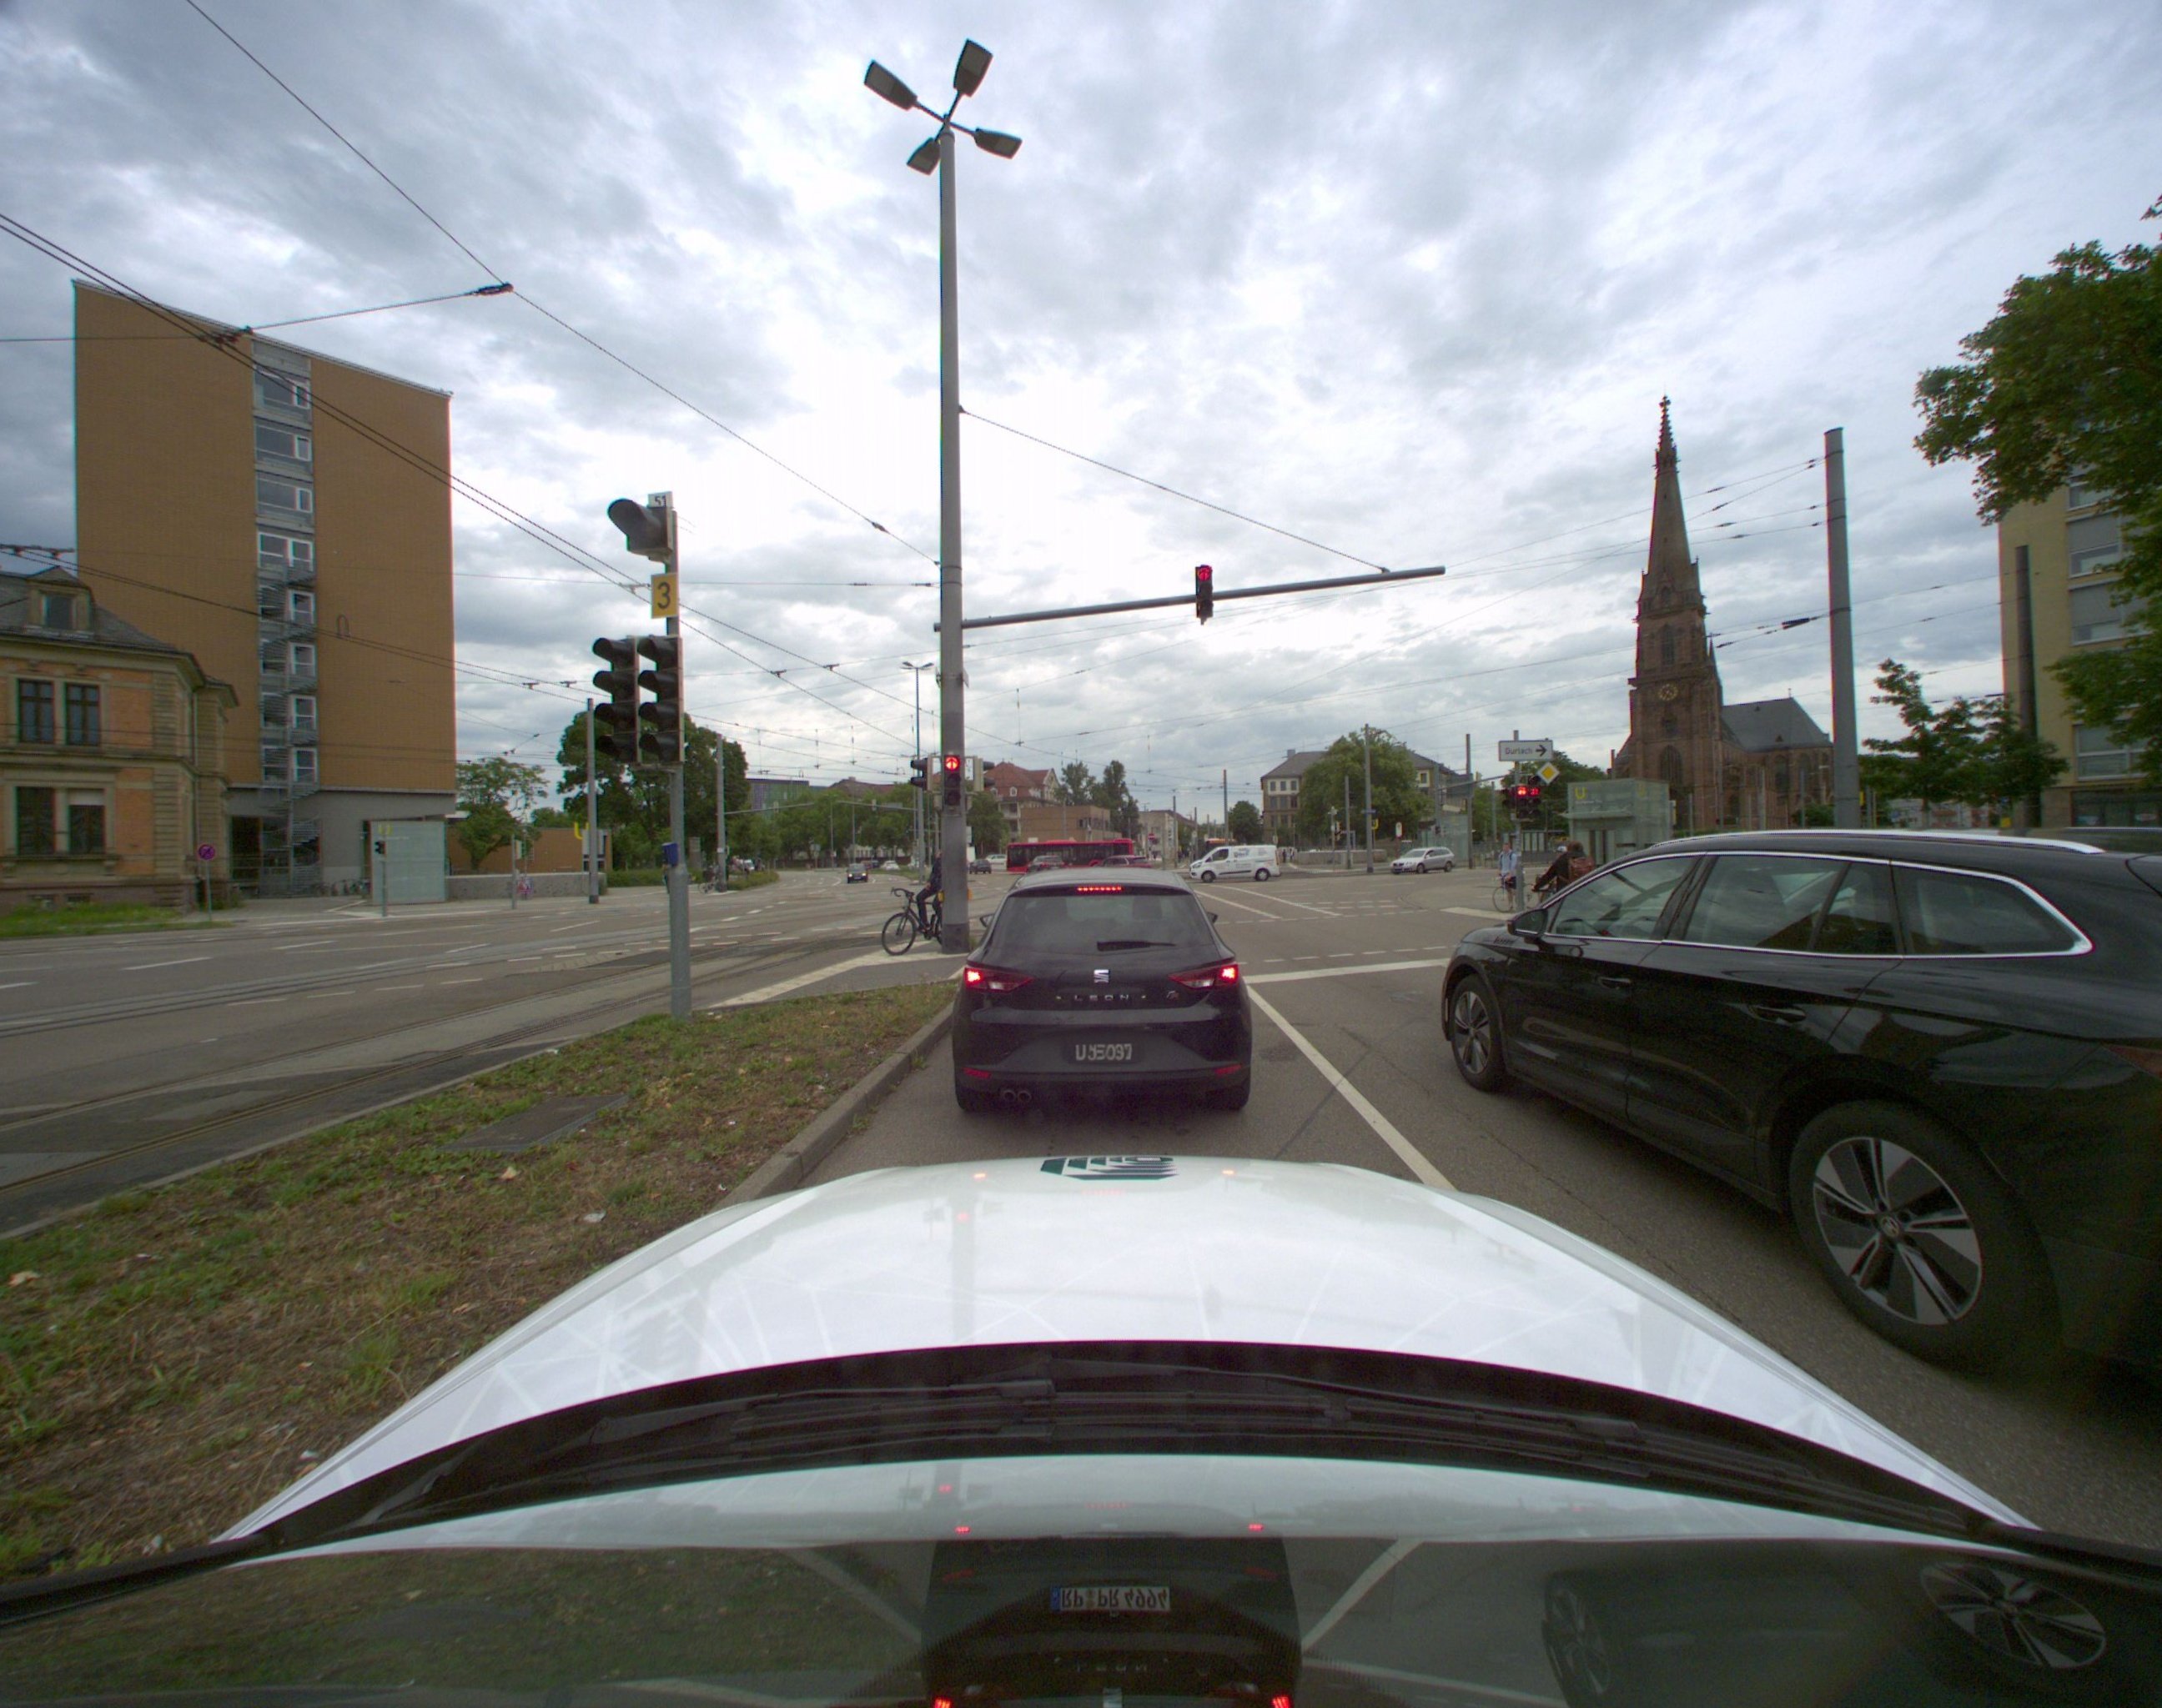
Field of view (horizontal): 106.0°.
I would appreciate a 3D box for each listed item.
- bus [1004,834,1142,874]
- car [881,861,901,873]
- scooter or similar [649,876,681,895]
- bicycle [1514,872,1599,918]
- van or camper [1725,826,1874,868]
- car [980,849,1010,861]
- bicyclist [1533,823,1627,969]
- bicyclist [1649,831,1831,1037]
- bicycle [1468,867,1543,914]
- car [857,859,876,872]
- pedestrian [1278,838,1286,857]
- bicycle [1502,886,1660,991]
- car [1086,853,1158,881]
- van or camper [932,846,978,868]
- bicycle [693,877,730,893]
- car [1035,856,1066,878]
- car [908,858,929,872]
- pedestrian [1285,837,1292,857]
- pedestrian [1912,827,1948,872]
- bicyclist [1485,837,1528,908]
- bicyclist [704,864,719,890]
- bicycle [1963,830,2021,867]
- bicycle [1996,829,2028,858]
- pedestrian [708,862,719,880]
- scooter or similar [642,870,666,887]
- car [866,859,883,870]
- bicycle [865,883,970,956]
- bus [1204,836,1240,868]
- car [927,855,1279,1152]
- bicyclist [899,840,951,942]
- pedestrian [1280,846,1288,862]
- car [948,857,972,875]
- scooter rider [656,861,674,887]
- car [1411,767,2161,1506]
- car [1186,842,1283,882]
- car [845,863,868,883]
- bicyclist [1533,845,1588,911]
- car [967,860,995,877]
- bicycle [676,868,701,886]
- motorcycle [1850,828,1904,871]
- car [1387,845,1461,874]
[{"bbox_3d":[-0.739,0.035,75.426,12.255,3.298,3.078,-2,-1,12],"label":"bus"},{"bbox_3d":[-26.107,1.750,111.698,2.003,1.640,3.968,-1,0,-24],"label":"car"},{"bbox_3d":[-26.706,2.010,52.303,0.567,1.165,1.917,-2,0,23],"label":"scooter or similar"},{"bbox_3d":[11.252,0.950,19.265,1.946,0.998,0.598,-1,0,-19],"label":"bicycle"},{"bbox_3d":[37.379,-0.348,42.575,5.402,1.978,2.183,-2,0,20],"label":"van or camper"},{"bbox_3d":[-15.226,0.190,144.613,5.033,1.864,1.975,-2,-3,-42],"label":"car"},{"bbox_3d":[6.059,0.491,9.919,0.613,1.690,0.806,-2,0,-1],"label":"bicyclist"},{"bbox_3d":[5.505,0.630,6.870,0.786,1.618,0.933,0,0,0],"label":"bicyclist"},{"bbox_3d":[10.830,0.912,20.776,1.996,0.998,0.575,-4,0,-26],"label":"bicycle"},{"bbox_3d":[-32.844,1.754,124.811,2.004,1.772,3.965,-1,0,-27],"label":"car"},{"bbox_3d":[44.800,-1.401,181.840,1.381,4.253,1.347,-2,0,2],"label":"pedestrian"},{"bbox_3d":[6.078,0.974,10.058,0.623,1.055,2.125,-2,0,0],"label":"bicycle"},{"bbox_3d":[2.476,0.820,49.535,4.152,1.600,1.875,-2,0,44],"label":"car"},{"bbox_3d":[-21.452,0.471,139.050,7.193,3.332,2.841,-2,-1,-43],"label":"van or camper"},{"bbox_3d":[-24.805,2.088,54.684,2.118,1.028,0.790,2,0,-18],"label":"bicycle"},{"bbox_3d":[-2.302,0.945,61.071,1.991,1.566,4.195,-2,0,-7],"label":"car"},{"bbox_3d":[-22.182,1.516,111.076,2.003,1.750,3.968,-1,0,-24],"label":"car"},{"bbox_3d":[46.297,-1.549,181.680,1.302,4.253,1.347,-2,0,2],"label":"pedestrian"},{"bbox_3d":[33.649,-0.194,32.275,0.910,1.737,0.805,-2,0,-33],"label":"pedestrian"},{"bbox_3d":[10.867,0.459,20.821,0.736,1.751,0.581,-3,0,-25],"label":"bicyclist"},{"bbox_3d":[-24.803,1.550,54.684,0.815,1.656,0.789,-1,1,-18],"label":"bicyclist"},{"bbox_3d":[36.117,-0.209,32.277,2.792,1.377,0.895,-2,0,-29],"label":"bicycle"},{"bbox_3d":[40.828,-0.463,35.718,2.048,1.169,0.663,-2,0,-34],"label":"bicycle"},{"bbox_3d":[-35.519,1.628,78.665,0.747,1.733,0.683,-2,0,-13],"label":"pedestrian"},{"bbox_3d":[-36.078,2.050,68.830,1.781,1.302,0.624,-2,0,-30],"label":"scooter or similar"},{"bbox_3d":[-33.514,1.738,132.088,2.004,1.750,3.965,-1,0,-26],"label":"car"},{"bbox_3d":[-2.698,1.059,13.541,1.622,1.070,0.522,-2,-1,-38],"label":"bicycle"},{"bbox_3d":[16.420,-0.239,94.085,2.994,3.268,13.093,-2,0,14],"label":"bus"},{"bbox_3d":[0.171,0.754,6.076,1.739,1.464,4.002,-1,0,2],"label":"car"},{"bbox_3d":[-2.611,0.604,13.624,0.658,1.639,0.512,-2,-1,-38],"label":"bicyclist"},{"bbox_3d":[25.218,-0.011,101.289,0.817,1.853,1.026,-2,0,18],"label":"pedestrian"},{"bbox_3d":[-13.961,1.367,93.815,2.000,2.013,3.973,-1,0,-20],"label":"car"},{"bbox_3d":[-26.733,1.308,52.286,0.562,1.627,0.826,-2,0,23],"label":"scooter rider"},{"bbox_3d":[3.382,0.607,3.780,1.897,1.658,4.515,-2,0,1],"label":"car"},{"bbox_3d":[8.417,0.429,44.928,4.994,2.019,2.002,-2,0,3],"label":"car"},{"bbox_3d":[-18.294,1.503,66.238,1.622,1.515,3.644,-3,0,-17],"label":"car"},{"bbox_3d":[11.369,0.552,19.314,0.886,1.522,0.668,-1,0,-19],"label":"bicyclist"},{"bbox_3d":[-10.162,1.453,82.402,2.000,1.539,3.973,-1,0,-20],"label":"car"},{"bbox_3d":[-34.437,2.019,71.539,0.842,1.449,2.259,-2,0,7],"label":"bicycle"},{"bbox_3d":[27.125,-0.174,27.745,2.304,1.366,1.035,-3,0,-40],"label":"motorcycle"},{"bbox_3d":[20.111,0.300,47.679,4.647,1.482,1.708,-3,0,-34],"label":"car"}]
